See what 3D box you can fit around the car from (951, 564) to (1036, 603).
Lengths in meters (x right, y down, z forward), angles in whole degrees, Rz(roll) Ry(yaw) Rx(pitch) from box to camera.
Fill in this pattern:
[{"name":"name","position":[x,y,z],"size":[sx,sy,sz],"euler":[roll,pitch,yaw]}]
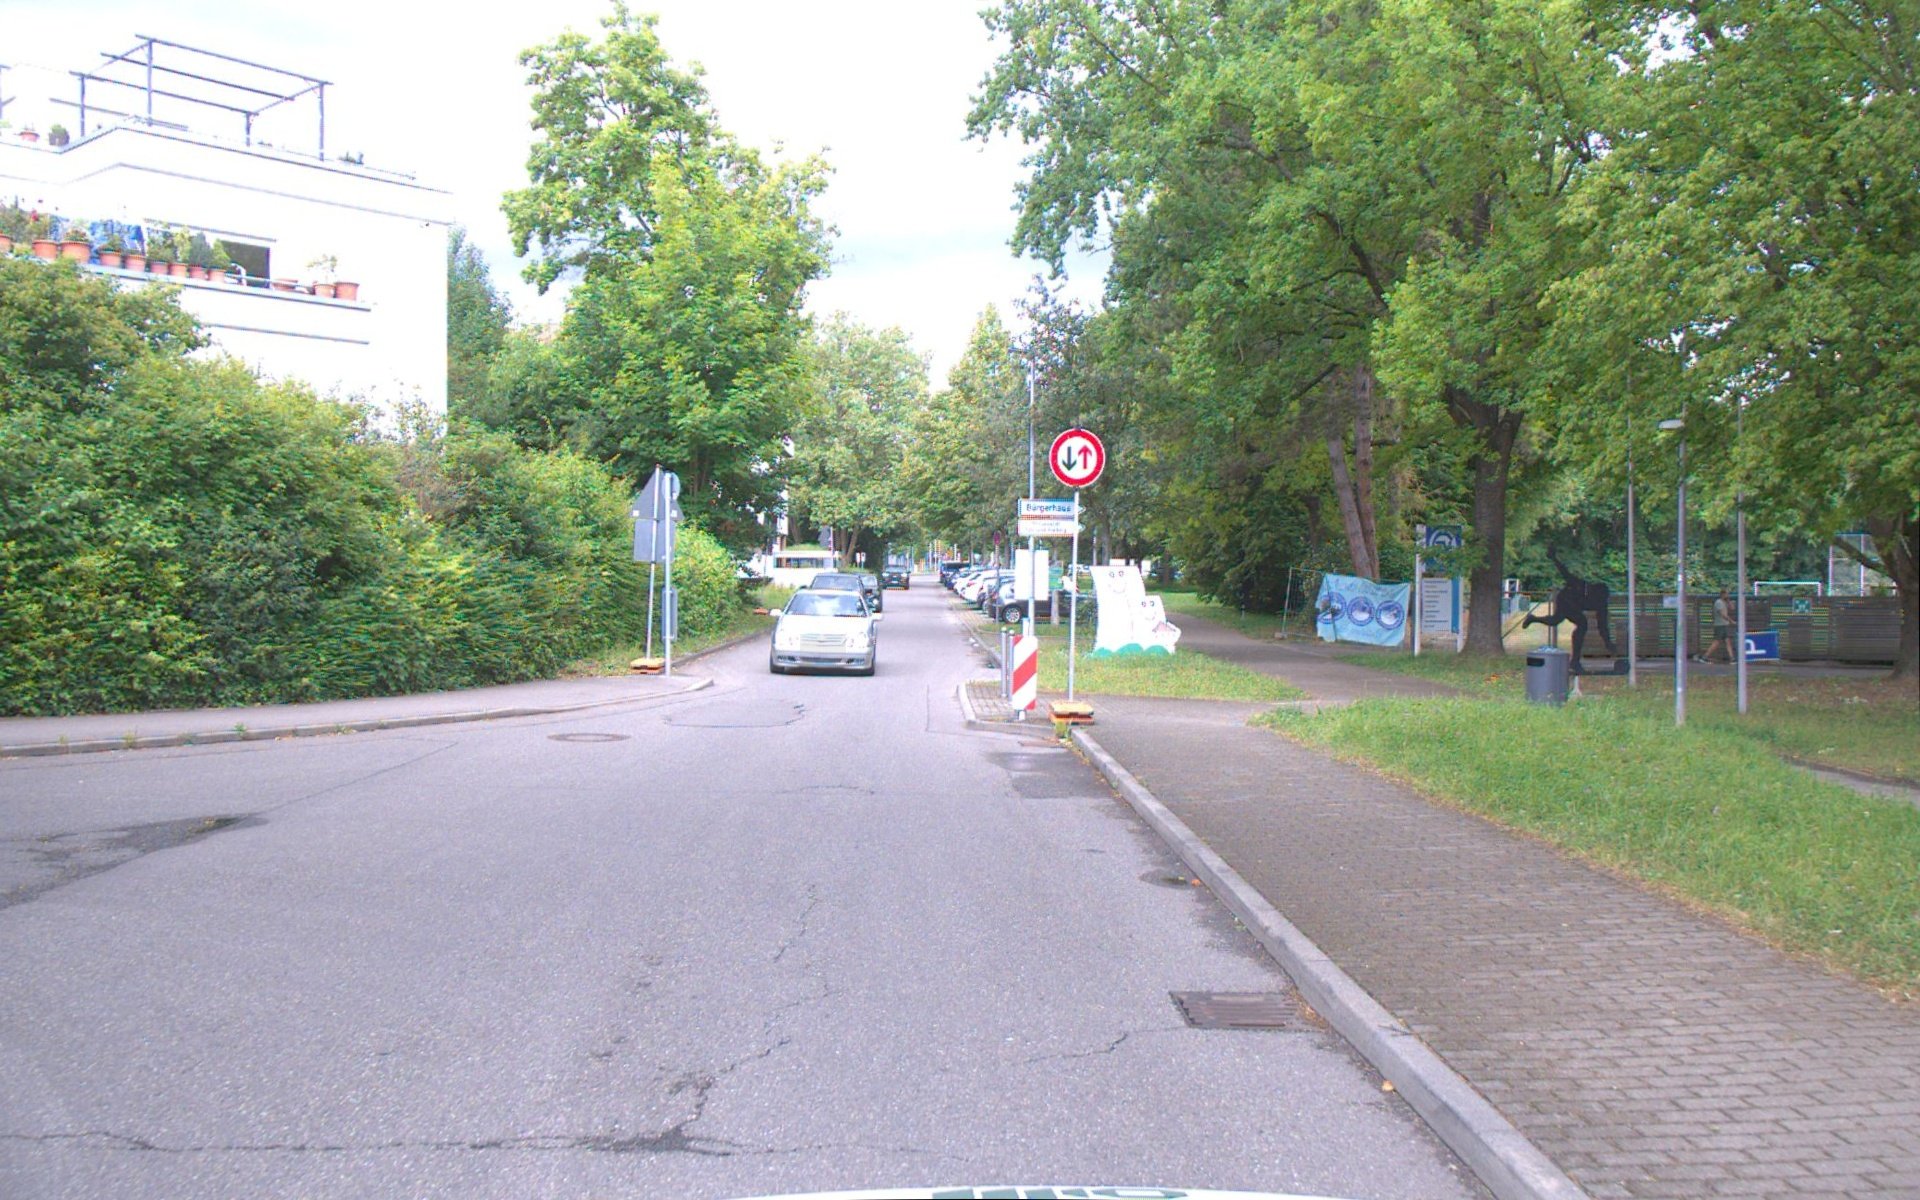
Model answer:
[{"name":"car","position":[1.625,-0.817,81.941],"size":[3.984,1.716,1.821],"euler":[-3,1,-5]}]

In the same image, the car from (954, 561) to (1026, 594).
[{"name":"car","position":[1.721,-1.305,95.771],"size":[3.984,1.716,1.821],"euler":[-3,1,-5]}]

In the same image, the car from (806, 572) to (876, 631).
[{"name":"car","position":[-3.402,0.014,47.791],"size":[1.766,1.619,4.295],"euler":[1,1,-1]}]

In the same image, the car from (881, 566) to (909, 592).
[{"name":"car","position":[-4.755,-1.538,120.809],"size":[1.929,1.778,4.336],"euler":[1,1,-2]}]

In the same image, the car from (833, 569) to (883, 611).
[{"name":"car","position":[-4.141,-0.437,67.720],"size":[1.766,1.619,4.296],"euler":[1,1,0]}]

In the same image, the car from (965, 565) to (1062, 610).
[{"name":"car","position":[2.328,-0.565,72.362],"size":[3.984,1.716,1.821],"euler":[-3,1,-5]}]

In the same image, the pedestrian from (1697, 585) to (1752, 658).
[{"name":"pedestrian","position":[18.255,0.520,39.509],"size":[1.124,1.704,0.793],"euler":[-1,-1,24]}]

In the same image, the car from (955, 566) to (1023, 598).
[{"name":"car","position":[1.778,-1.137,101.713],"size":[3.984,1.716,1.821],"euler":[-3,1,-5]}]

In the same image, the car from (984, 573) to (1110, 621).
[{"name":"car","position":[2.836,-0.087,54.663],"size":[3.981,1.459,1.999],"euler":[-1,-1,-2]}]

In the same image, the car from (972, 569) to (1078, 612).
[{"name":"car","position":[2.599,-0.397,66.709],"size":[3.984,1.514,1.821],"euler":[-3,1,-5]}]

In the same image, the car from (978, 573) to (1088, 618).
[{"name":"car","position":[2.705,-0.188,62.190],"size":[3.981,1.595,1.822],"euler":[-1,1,-2]}]

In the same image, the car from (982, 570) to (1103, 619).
[{"name":"car","position":[2.814,-0.169,56.997],"size":[3.981,1.596,1.821],"euler":[-1,-1,-2]}]

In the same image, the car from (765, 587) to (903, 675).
[{"name":"car","position":[-2.042,0.471,28.024],"size":[1.744,1.329,4.298],"euler":[1,1,3]}]
